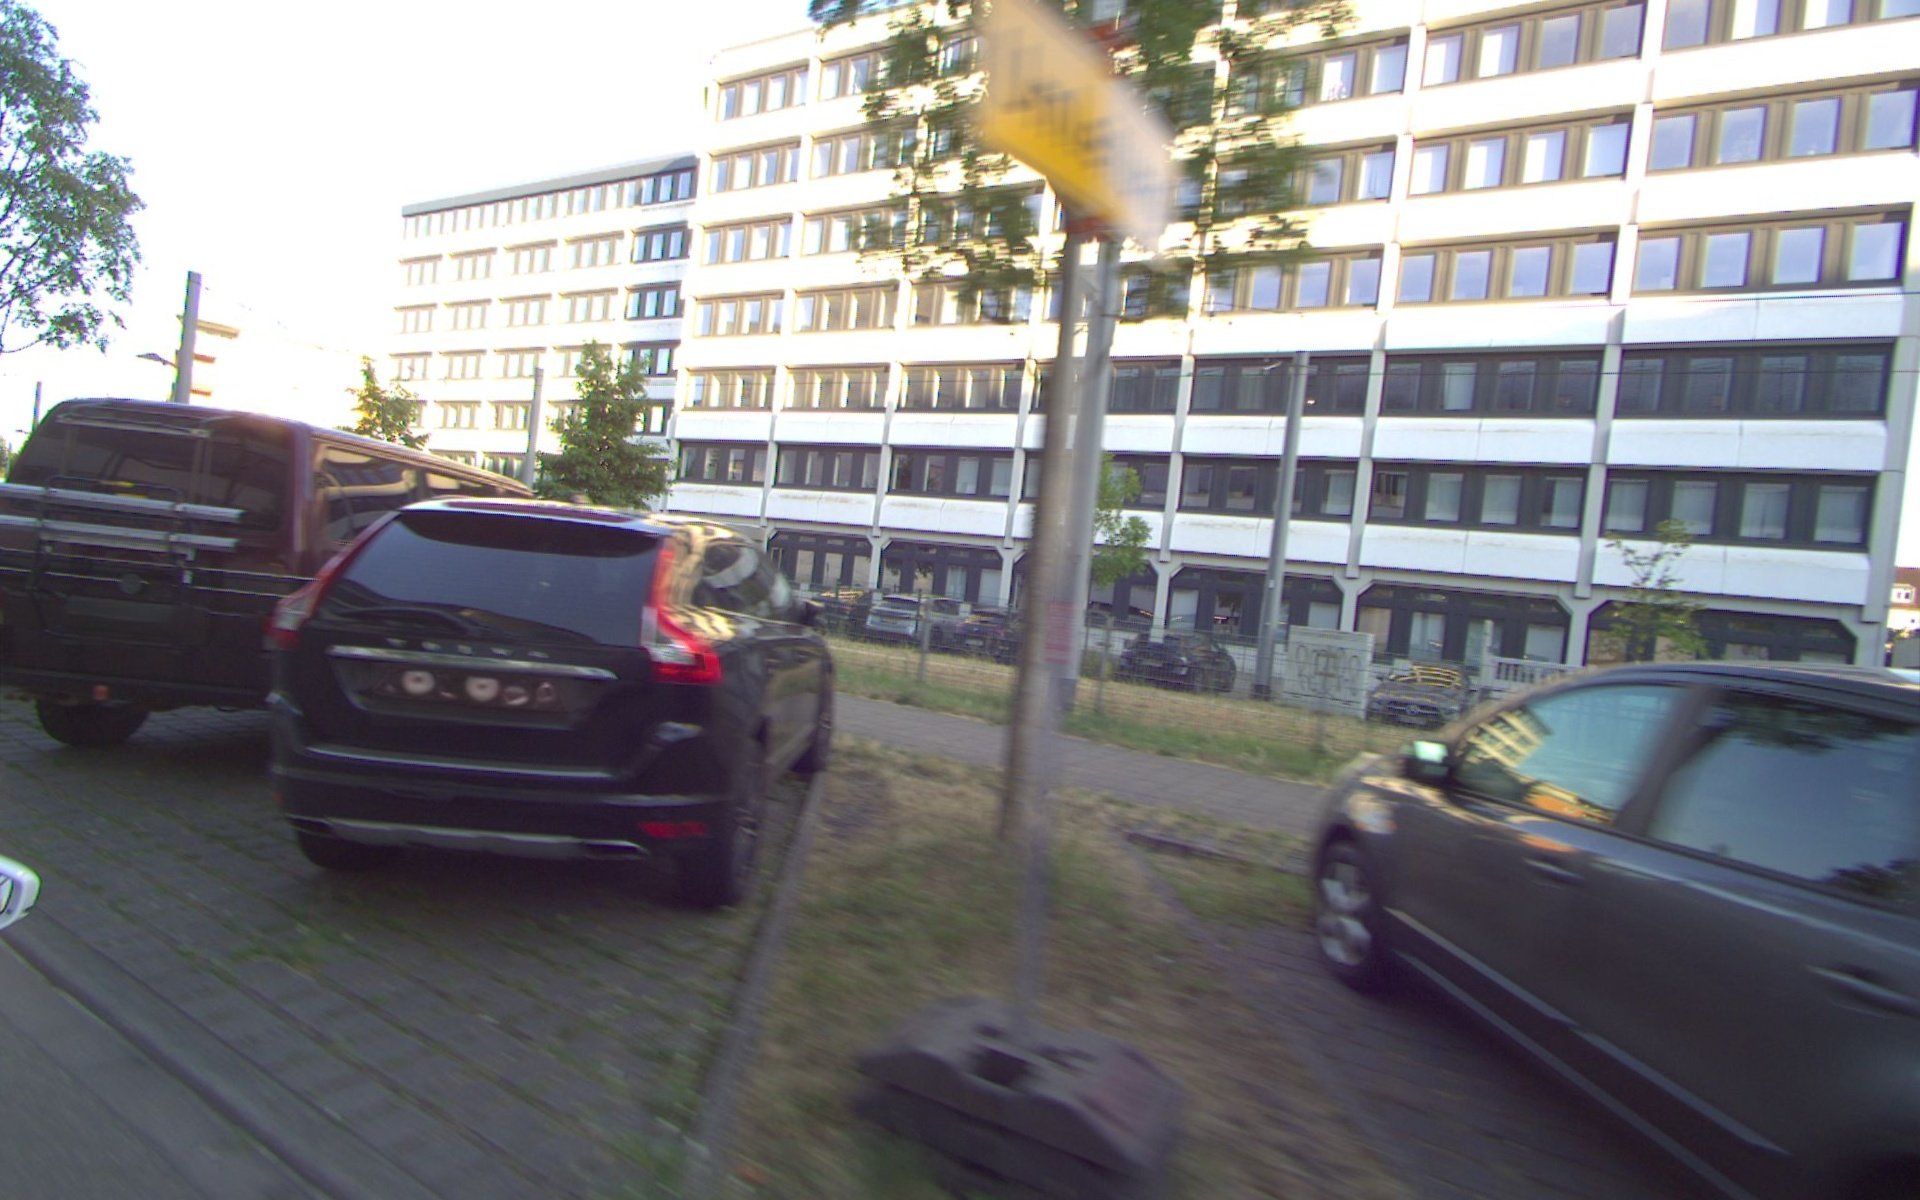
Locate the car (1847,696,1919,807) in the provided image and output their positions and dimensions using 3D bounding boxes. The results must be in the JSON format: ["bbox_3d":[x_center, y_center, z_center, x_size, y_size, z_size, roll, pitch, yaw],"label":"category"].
[{"bbox_3d":[16.709,2.609,16.861,1.793,1.533,3.990,7,2,29],"label":"car"}]

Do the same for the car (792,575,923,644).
[{"bbox_3d":[-2.837,0.310,28.675,1.564,1.414,3.998,8,-2,29],"label":"car"}]

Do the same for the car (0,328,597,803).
[{"bbox_3d":[-4.322,-0.153,7.017,1.838,2.059,4.603,8,-1,-2],"label":"car"}]

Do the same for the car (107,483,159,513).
[{"bbox_3d":[-90.340,-11.111,109.985,4.132,2.616,1.685,7,0,-38],"label":"car"}]

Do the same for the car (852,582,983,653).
[{"bbox_3d":[-1.079,0.531,27.537,1.564,1.414,3.998,8,-2,29],"label":"car"}]

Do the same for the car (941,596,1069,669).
[{"bbox_3d":[1.249,0.897,26.159,1.564,1.414,3.998,8,-2,29],"label":"car"}]

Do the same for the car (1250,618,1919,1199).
[{"bbox_3d":[2.548,0.987,3.191,1.706,1.613,4.000,7,-2,-4],"label":"car"}]

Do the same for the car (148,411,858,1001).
[{"bbox_3d":[-1.785,0.417,5.735,1.837,1.769,4.604,8,-1,-1],"label":"car"}]

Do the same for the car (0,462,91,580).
[{"bbox_3d":[-14.575,-1.200,13.628,1.936,1.661,3.985,6,1,4],"label":"car"}]

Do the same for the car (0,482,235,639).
[{"bbox_3d":[-9.880,-0.469,10.635,1.732,1.459,3.777,8,-1,-4],"label":"car"}]

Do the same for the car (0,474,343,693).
[{"bbox_3d":[-7.348,-0.180,8.805,1.610,1.482,3.777,8,-1,-4],"label":"car"}]
